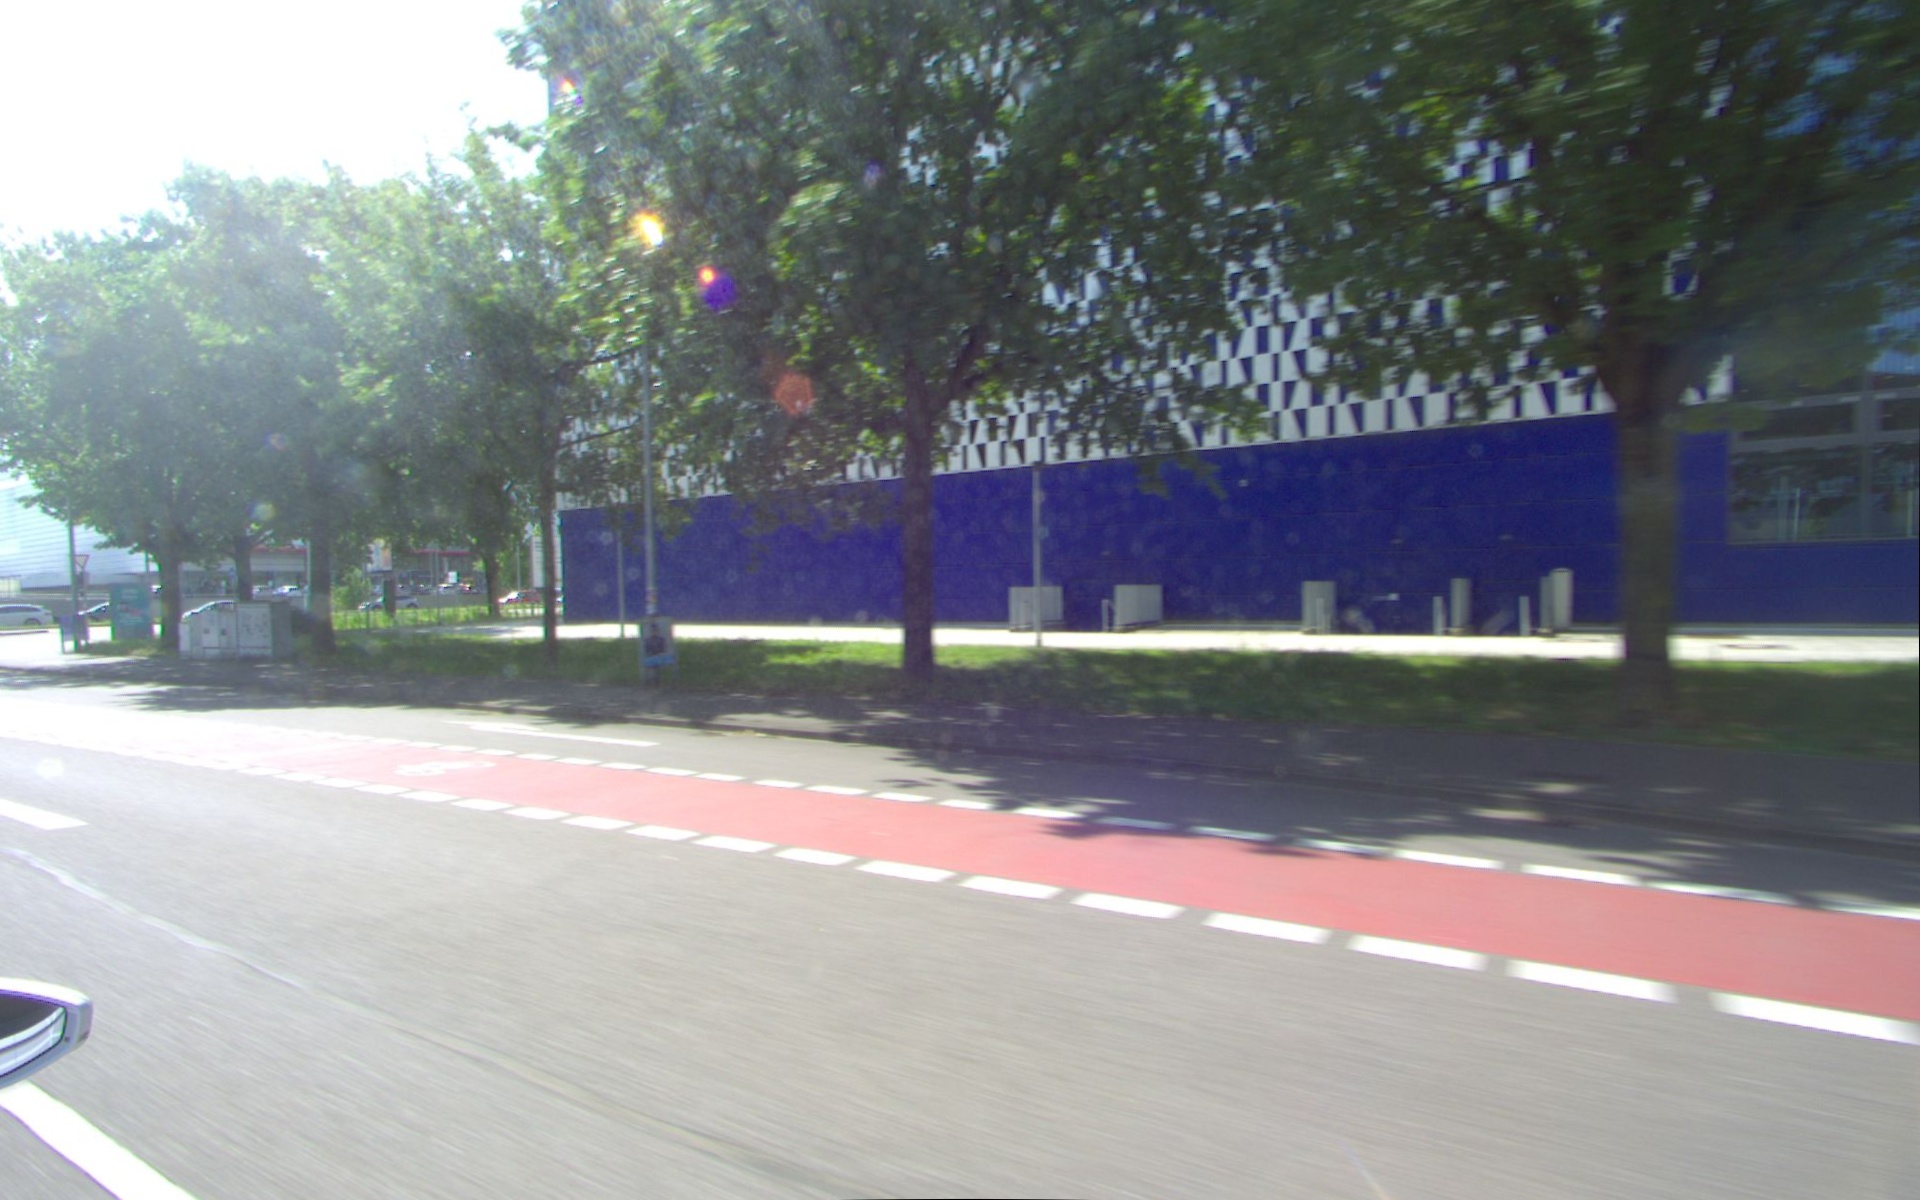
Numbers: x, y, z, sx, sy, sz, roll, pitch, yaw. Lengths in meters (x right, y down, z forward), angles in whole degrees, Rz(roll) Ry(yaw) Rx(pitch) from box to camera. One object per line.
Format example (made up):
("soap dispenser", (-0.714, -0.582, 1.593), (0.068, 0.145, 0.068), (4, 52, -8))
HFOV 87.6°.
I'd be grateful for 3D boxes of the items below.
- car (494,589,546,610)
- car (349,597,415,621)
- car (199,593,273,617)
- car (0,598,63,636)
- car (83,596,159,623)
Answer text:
("car", (-37.913, -0.048, 86.368), (1.462, 1.540, 3.757), (0, 3, 37))
("car", (-44.468, 0.681, 77.104), (1.462, 1.540, 4.114), (0, 3, 37))
("car", (-53.278, 0.346, 73.741), (1.462, 1.540, 4.114), (0, 3, 37))
("car", (-55.310, 1.003, 58.213), (1.462, 2.022, 4.383), (0, 3, 37))
("car", (-54.249, 0.597, 64.783), (1.462, 1.450, 3.455), (0, 3, 37))
